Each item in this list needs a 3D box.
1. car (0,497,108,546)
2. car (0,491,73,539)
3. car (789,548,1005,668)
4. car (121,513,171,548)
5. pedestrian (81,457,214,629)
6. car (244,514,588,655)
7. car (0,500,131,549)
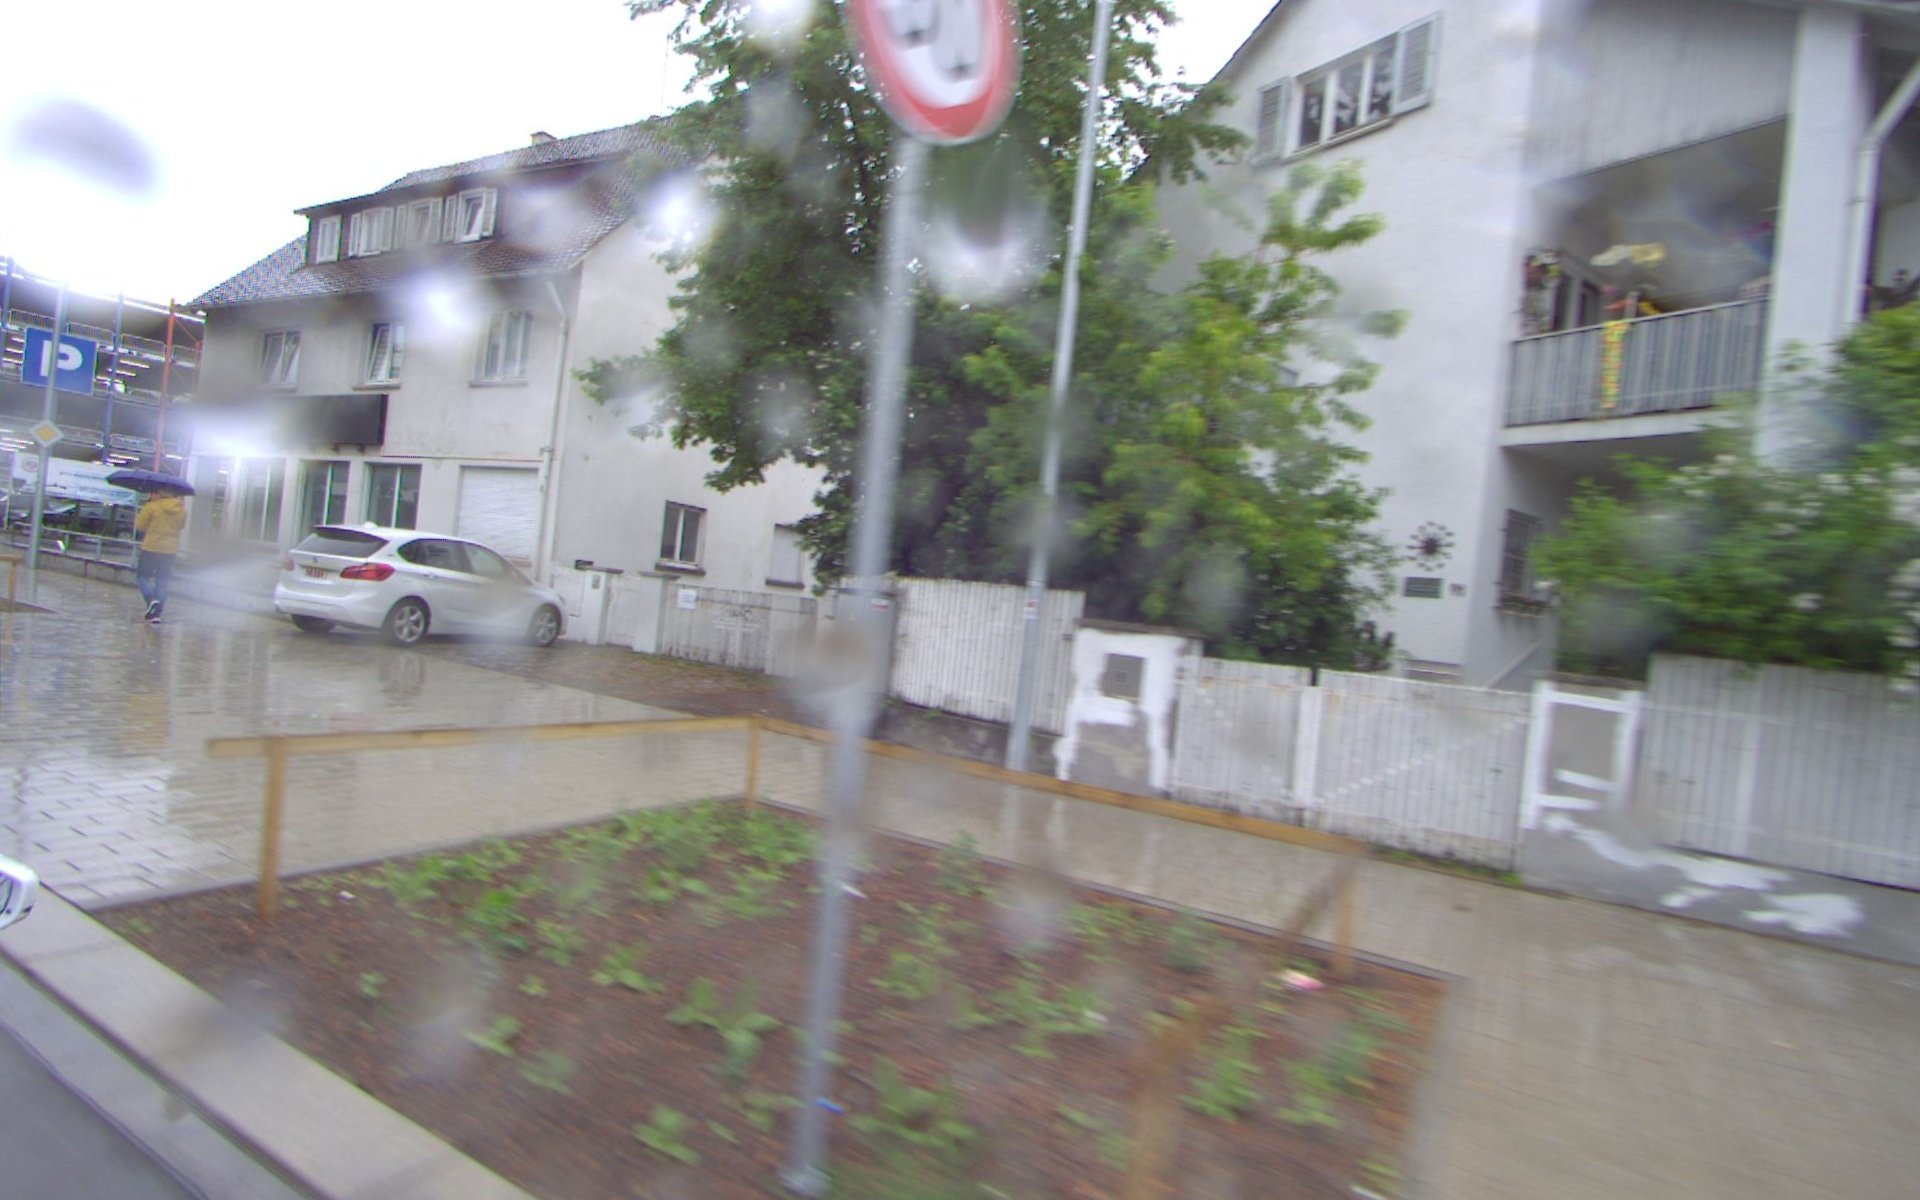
[{"bbox_3d":[-36.574,-3.158,39.946,1.701,1.466,3.734,6,-1,28],"label":"car"},{"bbox_3d":[-40.619,-3.745,42.420,1.813,1.671,4.363,7,-1,29],"label":"car"},{"bbox_3d":[-1.153,0.233,20.999,2.085,2.046,4.848,7,1,28],"label":"car"},{"bbox_3d":[-47.962,-4.079,59.229,3.947,1.700,1.726,7,1,44],"label":"car"},{"bbox_3d":[-10.352,-0.718,12.821,1.175,2.040,0.859,7,2,30],"label":"pedestrian"},{"bbox_3d":[-7.710,-0.165,14.781,1.962,1.601,4.141,7,1,18],"label":"car"},{"bbox_3d":[-34.599,-2.893,38.712,1.663,1.331,3.734,6,-1,28],"label":"car"}]
